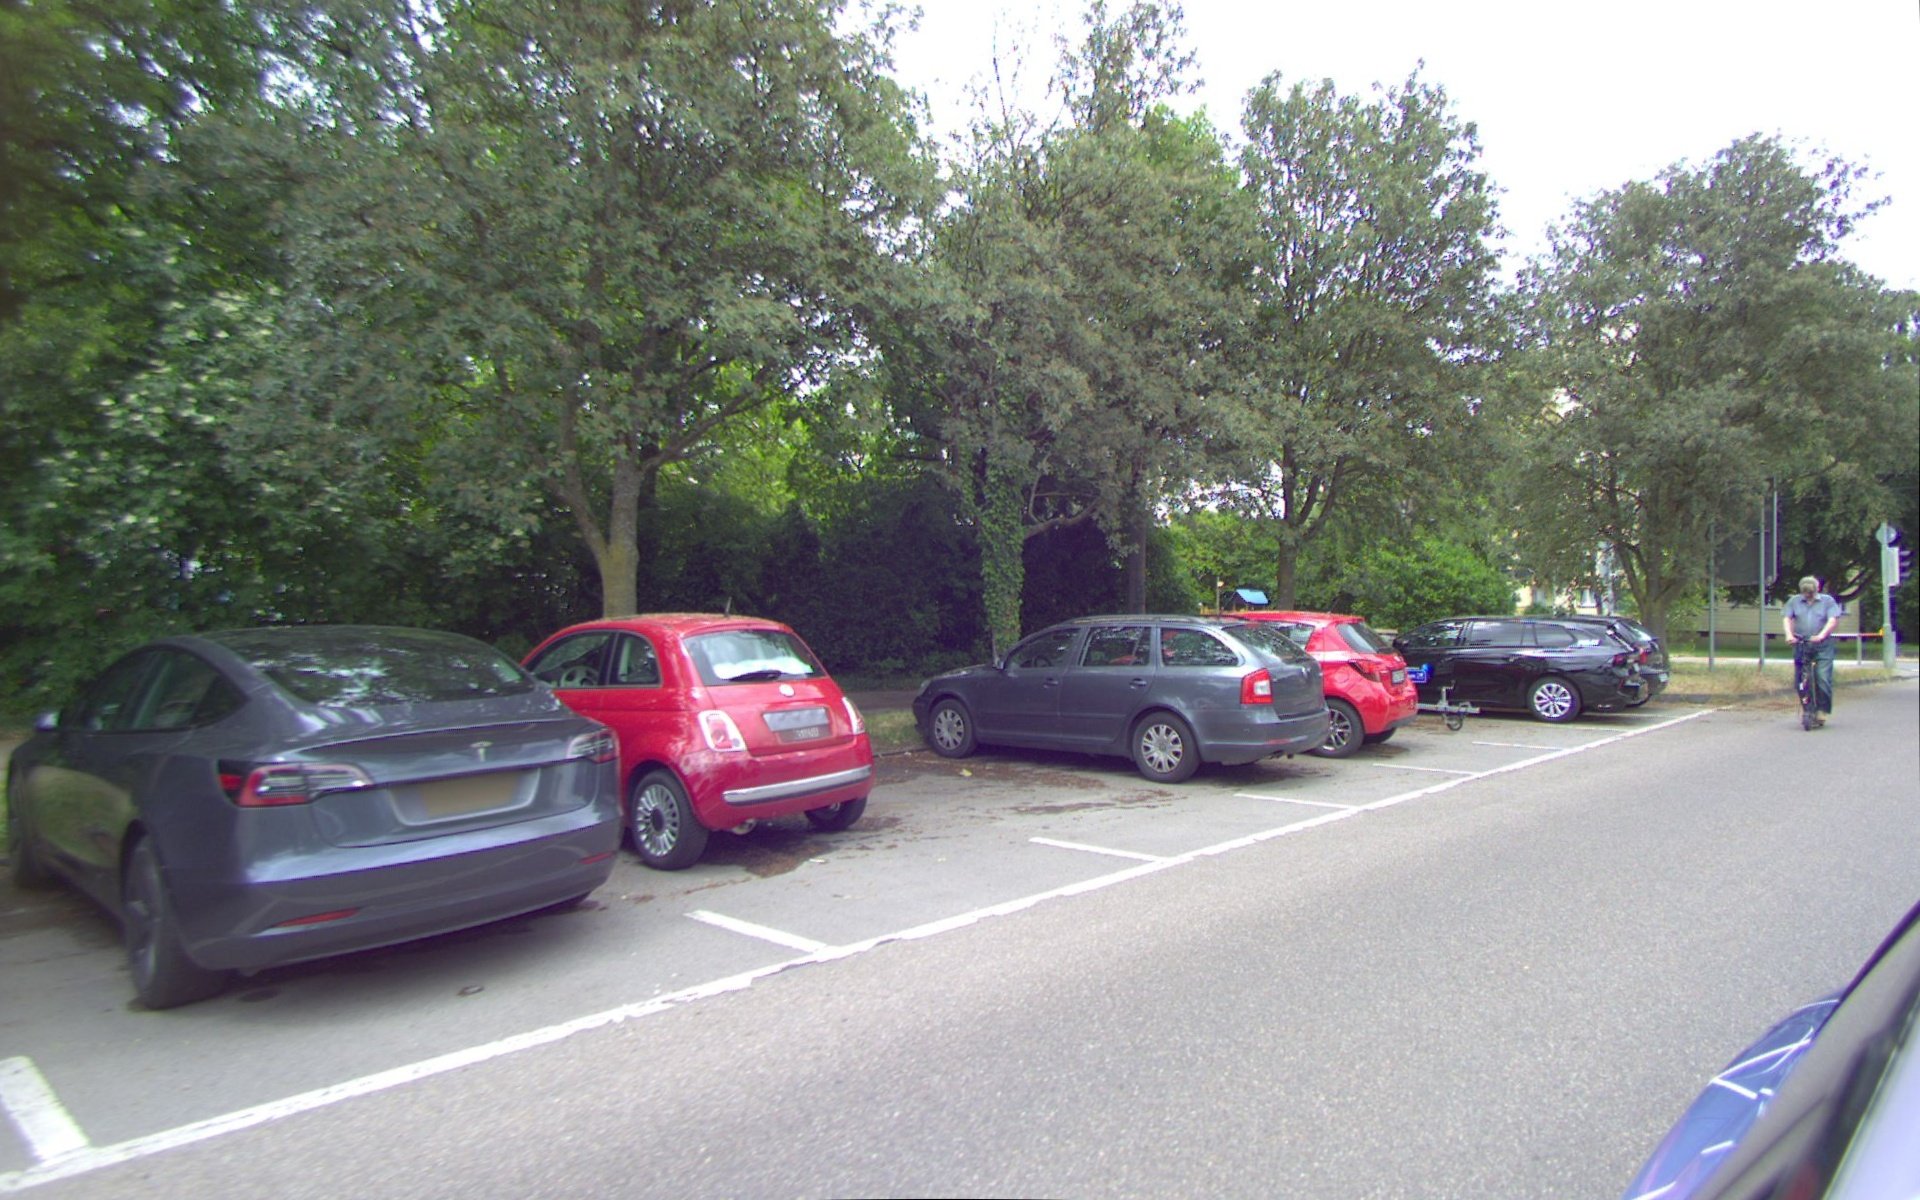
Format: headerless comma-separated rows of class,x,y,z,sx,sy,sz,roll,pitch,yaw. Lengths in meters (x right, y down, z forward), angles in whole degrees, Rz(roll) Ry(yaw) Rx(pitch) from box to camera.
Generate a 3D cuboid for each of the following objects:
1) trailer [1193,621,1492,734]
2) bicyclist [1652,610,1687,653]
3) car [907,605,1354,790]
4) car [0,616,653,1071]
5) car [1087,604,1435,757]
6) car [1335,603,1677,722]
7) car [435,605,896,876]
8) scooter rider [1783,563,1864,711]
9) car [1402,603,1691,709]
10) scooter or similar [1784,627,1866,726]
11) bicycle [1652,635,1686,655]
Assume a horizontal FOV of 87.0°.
trailer,5.015,0.937,13.471,3.397,1.283,1.593,-1,-1,40
bicyclist,22.060,0.988,31.489,0.511,1.202,0.963,5,-5,11
car,1.532,0.821,10.144,4.214,1.483,1.611,-1,-1,41
car,-3.516,0.821,5.209,4.151,1.425,1.674,-1,-1,39
car,3.386,0.825,11.654,3.515,1.495,1.571,-1,-1,37
car,7.754,0.826,14.586,4.126,1.495,1.555,-1,-1,38
car,-2.213,0.800,7.255,3.320,1.483,1.611,-1,-1,40
scooter rider,10.832,0.446,12.686,0.681,1.752,1.177,-1,-2,44
car,9.298,0.839,16.259,1.549,1.495,3.719,2,-2,-43
scooter or similar,10.864,0.919,12.694,0.681,1.154,1.436,-1,-2,44
bicycle,22.024,1.408,31.448,0.511,0.504,0.984,5,-5,11
